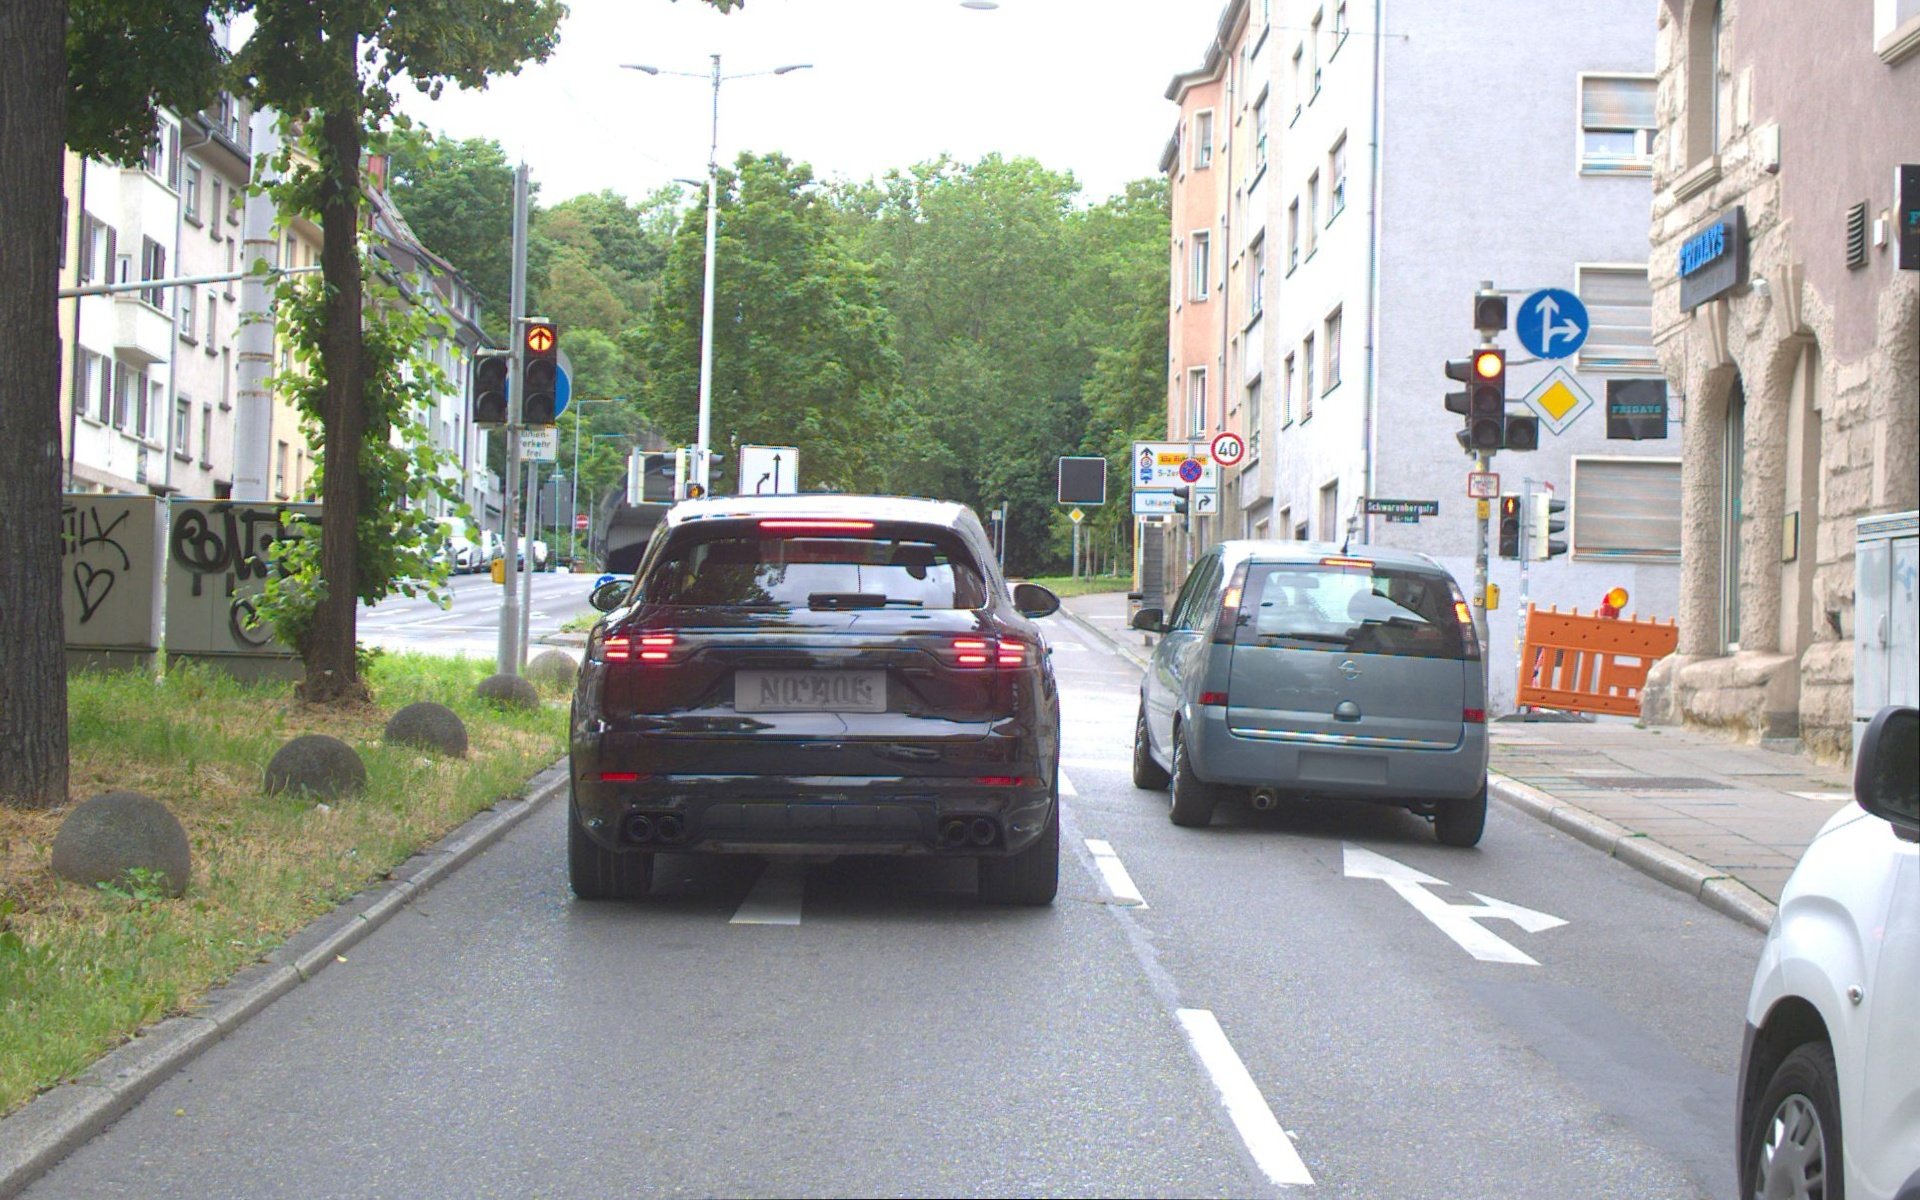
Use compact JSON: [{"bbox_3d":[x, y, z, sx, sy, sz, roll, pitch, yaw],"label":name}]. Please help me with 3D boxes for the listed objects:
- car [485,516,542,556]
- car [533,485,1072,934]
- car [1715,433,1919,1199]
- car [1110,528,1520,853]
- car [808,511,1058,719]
[{"bbox_3d":[-17.766,-2.567,136.935,1.794,1.505,4.001,2,1,-2],"label":"car"},{"bbox_3d":[-0.588,0.356,14.913,1.994,1.647,4.000,1,2,0],"label":"car"},{"bbox_3d":[2.507,0.658,5.149,1.850,1.819,5.020,3,0,3],"label":"car"},{"bbox_3d":[1.938,0.441,19.813,1.752,1.588,3.631,4,1,-2],"label":"car"},{"bbox_3d":[-0.214,0.101,29.944,1.994,1.647,4.000,1,1,0],"label":"car"}]
